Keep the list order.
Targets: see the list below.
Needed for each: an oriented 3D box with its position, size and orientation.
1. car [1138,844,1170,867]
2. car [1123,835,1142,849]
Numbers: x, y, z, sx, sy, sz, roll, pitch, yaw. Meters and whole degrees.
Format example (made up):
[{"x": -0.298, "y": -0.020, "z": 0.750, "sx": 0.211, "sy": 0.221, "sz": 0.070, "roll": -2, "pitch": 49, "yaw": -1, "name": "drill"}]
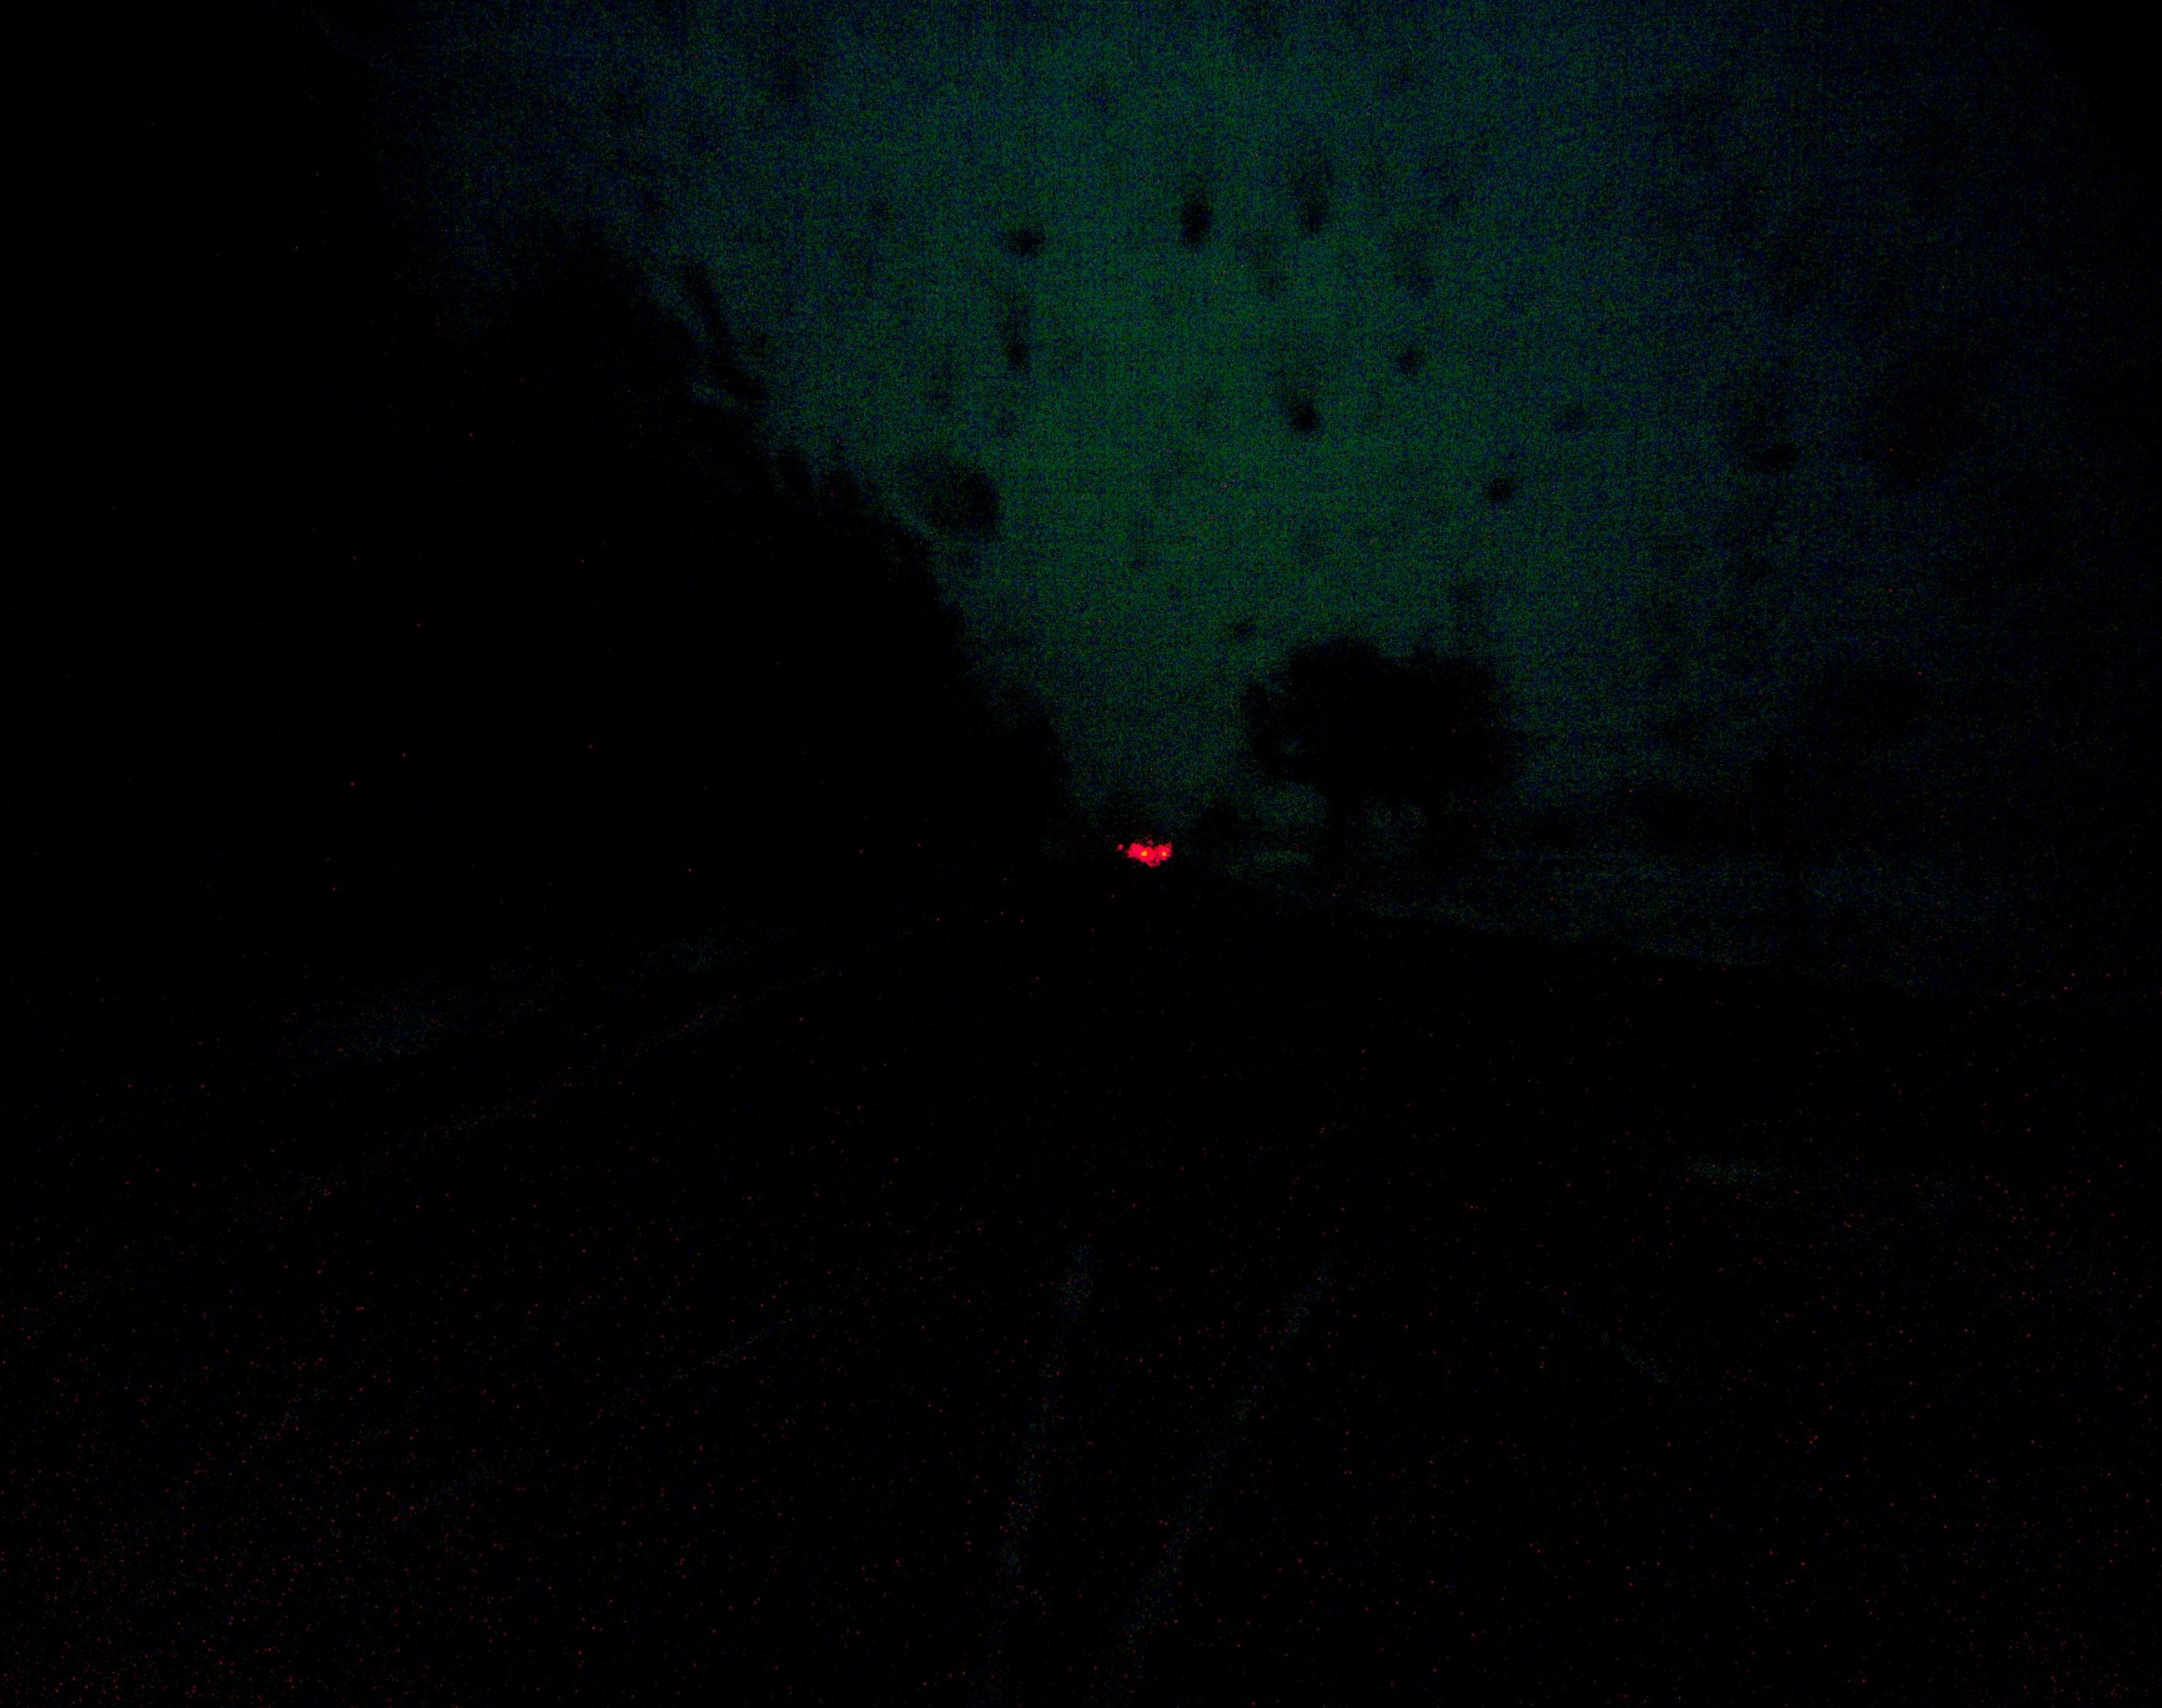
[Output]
[{"x": 4.872, "y": 0.088, "z": 51.229, "sx": 1.746, "sy": 1.478, "sz": 4.004, "roll": 0, "pitch": 0, "yaw": 0, "name": "car"}, {"x": 6.363, "y": -1.454, "z": 93.200, "sx": 1.755, "sy": 1.683, "sz": 4.429, "roll": -1, "pitch": 1, "yaw": 11, "name": "car"}]
